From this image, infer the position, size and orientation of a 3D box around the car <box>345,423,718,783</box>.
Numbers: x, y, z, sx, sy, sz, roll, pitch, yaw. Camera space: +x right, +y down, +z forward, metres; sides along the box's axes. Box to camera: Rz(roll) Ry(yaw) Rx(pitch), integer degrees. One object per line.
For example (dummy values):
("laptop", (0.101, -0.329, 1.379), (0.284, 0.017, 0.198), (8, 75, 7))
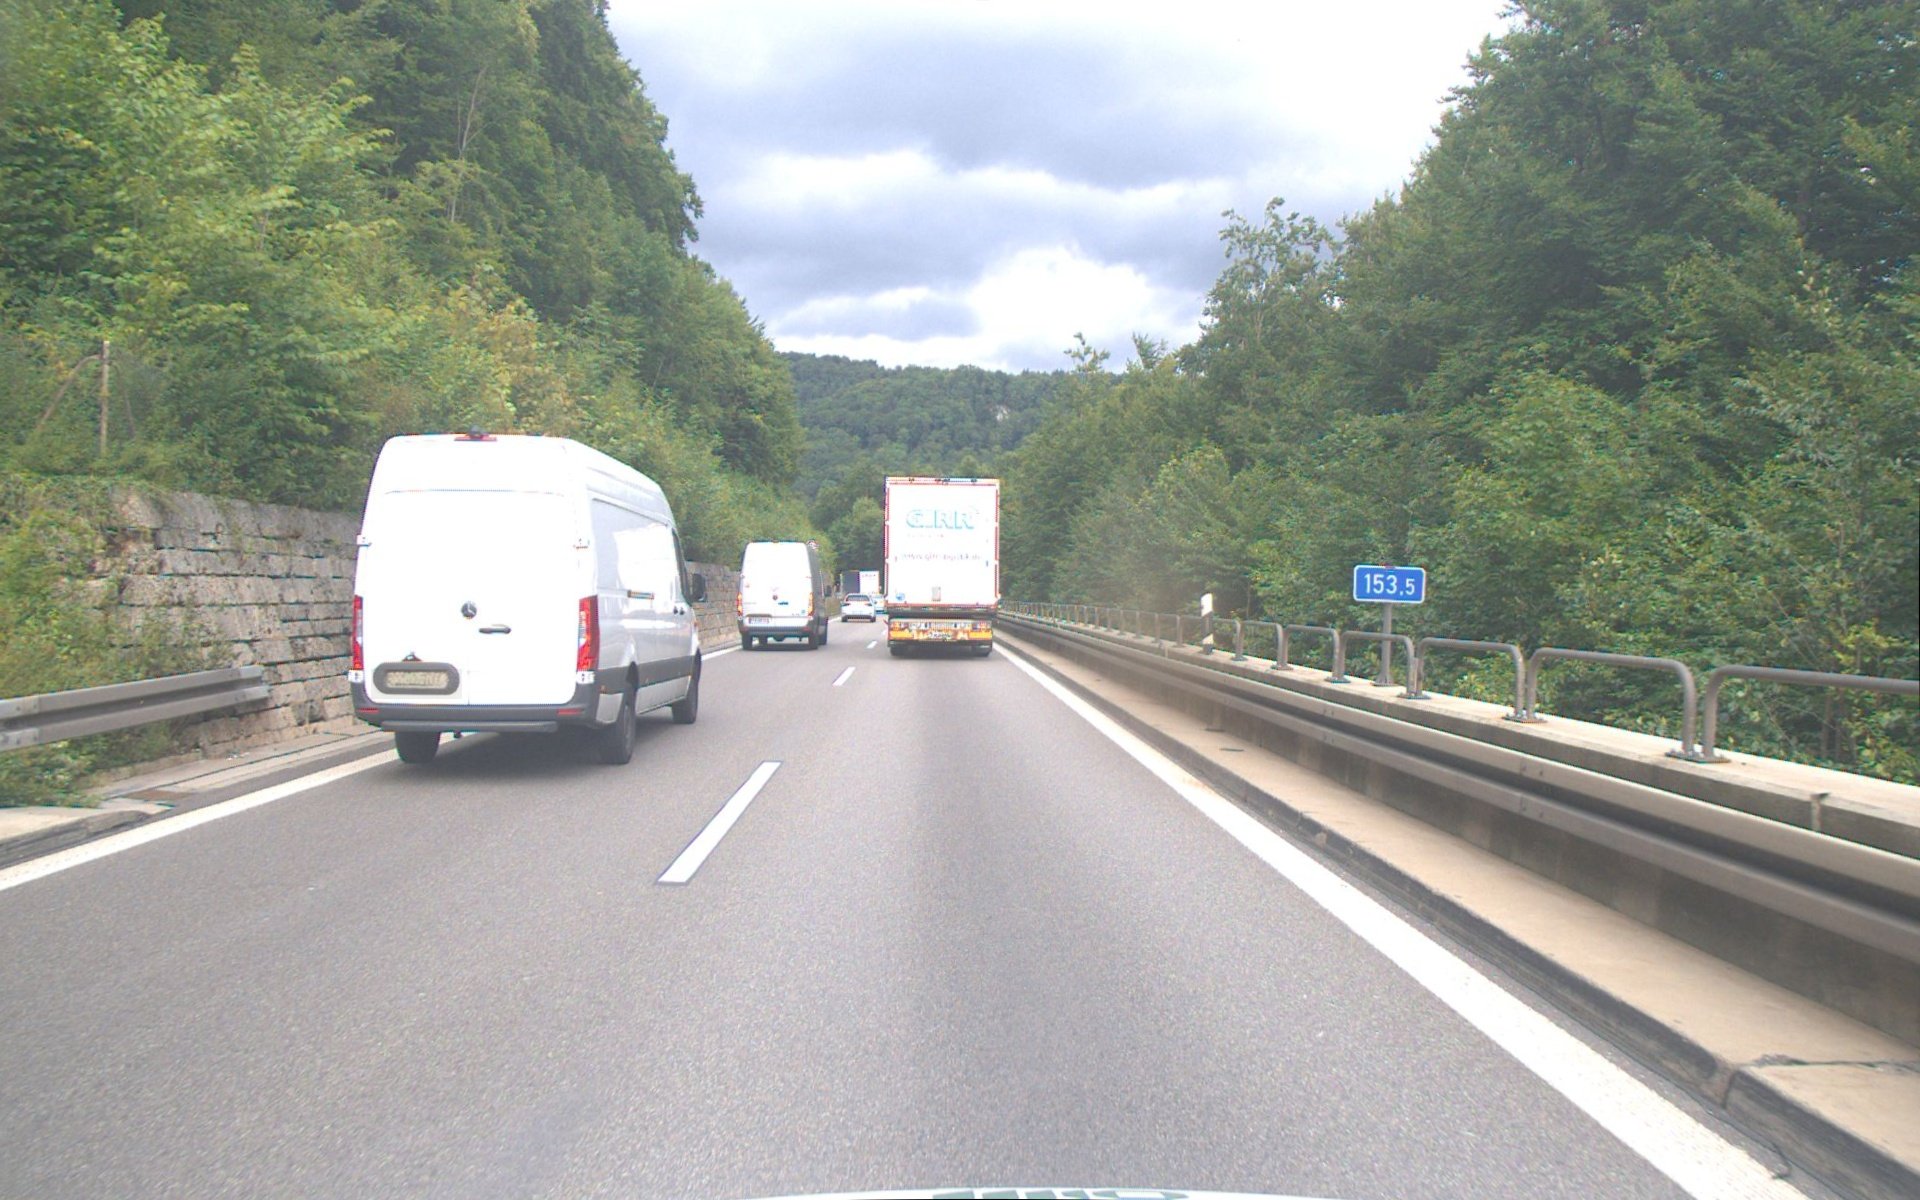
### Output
("car", (-3.748, 0.000, 15.993), (1.948, 2.719, 6.934), (0, 0, -1))

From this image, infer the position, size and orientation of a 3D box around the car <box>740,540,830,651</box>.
("car", (-4.530, -0.127, 43.636), (1.900, 2.719, 5.989), (0, 0, -2))

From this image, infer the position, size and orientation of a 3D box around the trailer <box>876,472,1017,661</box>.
("trailer", (-0.413, -0.893, 42.024), (2.995, 4.055, 12.135), (1, 2, -1))

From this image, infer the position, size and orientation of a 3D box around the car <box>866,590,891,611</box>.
("car", (-5.979, 0.037, 121.664), (1.696, 1.446, 3.999), (1, 0, -1))

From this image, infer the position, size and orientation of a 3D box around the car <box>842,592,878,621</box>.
("car", (-5.195, 0.324, 86.260), (1.697, 1.446, 3.999), (1, 0, -1))
